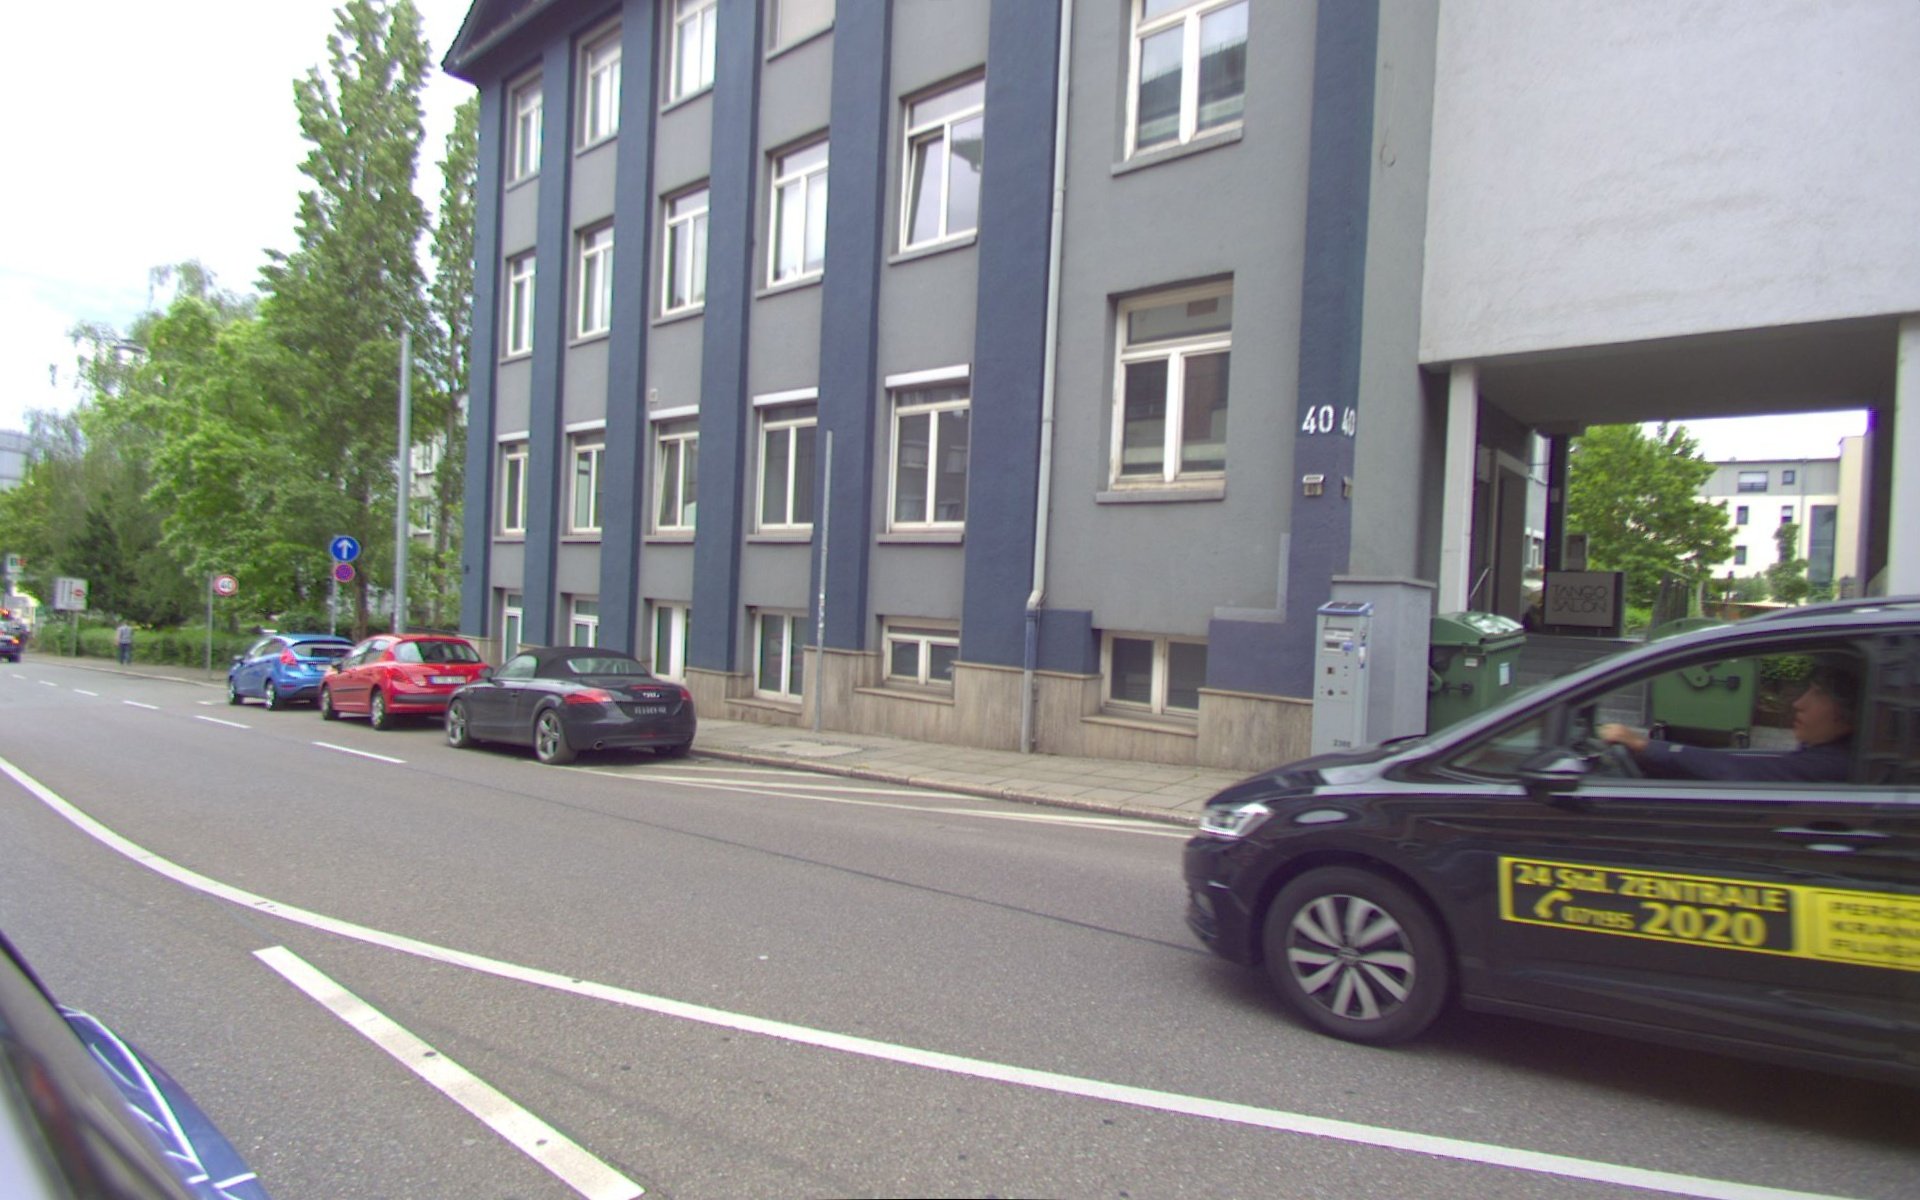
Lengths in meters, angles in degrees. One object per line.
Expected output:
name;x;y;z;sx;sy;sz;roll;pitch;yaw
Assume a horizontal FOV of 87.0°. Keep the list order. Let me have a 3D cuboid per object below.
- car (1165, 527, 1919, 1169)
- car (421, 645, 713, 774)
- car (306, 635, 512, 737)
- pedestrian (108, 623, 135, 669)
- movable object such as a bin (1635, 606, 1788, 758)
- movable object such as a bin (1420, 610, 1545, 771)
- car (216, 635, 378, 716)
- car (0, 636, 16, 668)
car;3.074;0.717;3.484;4.297;1.720;1.768;-1;-4;35
car;-5.042;1.275;12.749;4.039;1.337;1.702;-2;-5;41
car;-9.210;1.364;16.802;3.868;1.485;1.795;-2;-5;42
pedestrian;-34.697;1.880;41.880;0.776;1.864;0.736;-2;-2;42
movable object such as a bin;8.342;0.867;11.230;1.190;1.489;1.132;5;1;41
movable object such as a bin;5.303;0.859;10.252;0.784;1.467;1.251;0;1;44
car;-13.378;1.459;20.364;3.724;1.465;1.702;-2;-4;40
car;-46.011;2.435;47.817;3.726;1.495;1.701;-2;-4;42
